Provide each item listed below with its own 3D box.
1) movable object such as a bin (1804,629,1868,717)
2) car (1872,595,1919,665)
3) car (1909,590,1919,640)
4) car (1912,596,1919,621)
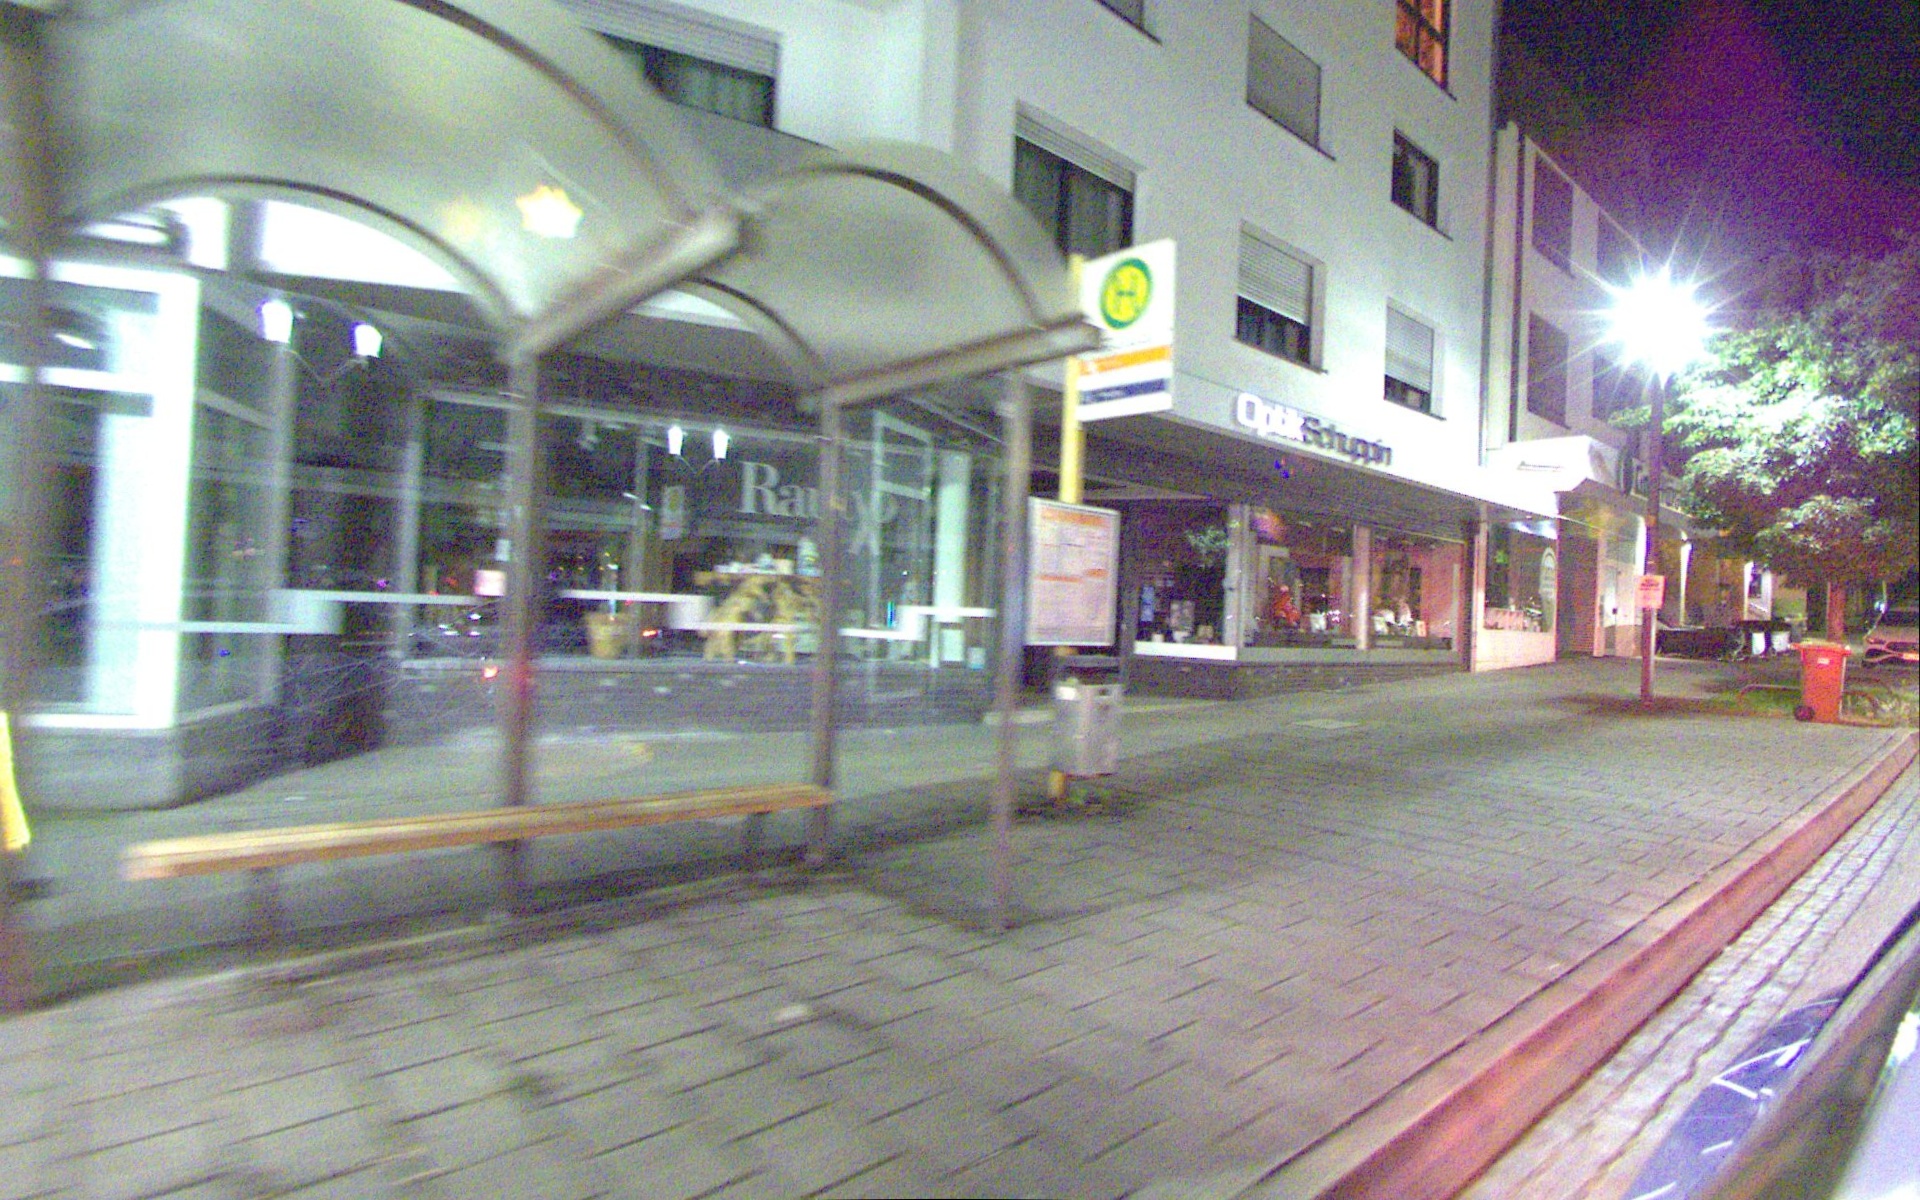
[{"bbox_3d":[10.171,0.834,11.768,0.523,0.949,0.621,0,1,38],"label":"movable object such as a bin"},{"bbox_3d":[22.551,0.661,23.425,4.519,1.460,1.859,-1,3,-45],"label":"car"},{"bbox_3d":[34.003,0.526,34.841,1.788,1.661,4.309,4,3,44],"label":"car"},{"bbox_3d":[58.654,0.495,61.139,1.638,1.485,3.717,-1,0,43],"label":"car"}]
